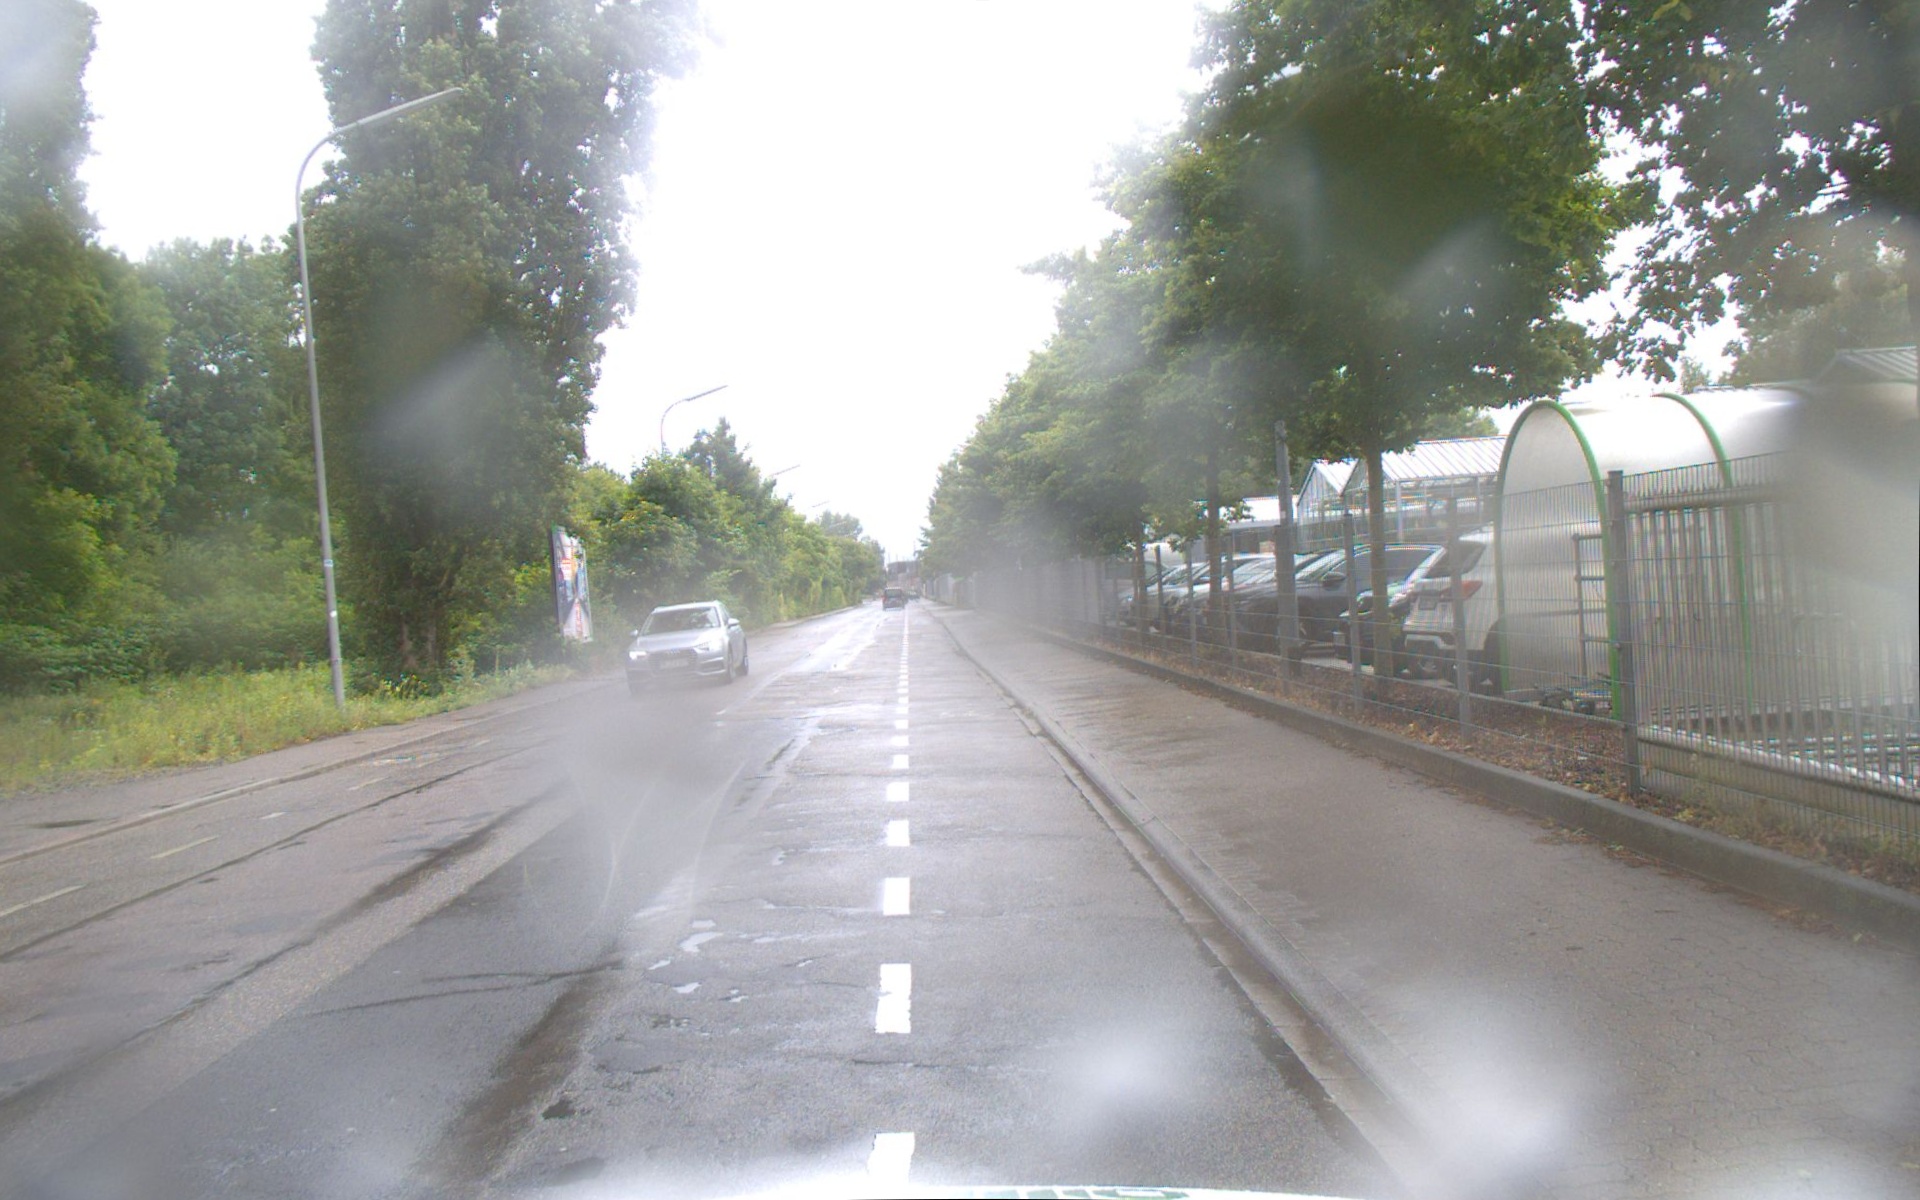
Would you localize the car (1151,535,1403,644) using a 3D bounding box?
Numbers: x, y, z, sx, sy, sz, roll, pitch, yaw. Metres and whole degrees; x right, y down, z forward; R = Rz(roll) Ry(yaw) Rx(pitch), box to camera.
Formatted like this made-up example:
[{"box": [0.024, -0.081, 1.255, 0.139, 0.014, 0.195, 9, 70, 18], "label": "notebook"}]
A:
[{"box": [5.826, -0.198, 30.638, 4.132, 1.646, 1.820, -4, 1, -9], "label": "car"}]

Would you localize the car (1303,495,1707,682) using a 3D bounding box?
[{"box": [6.452, -0.150, 19.777, 4.132, 1.825, 1.820, -4, 1, -9], "label": "car"}]

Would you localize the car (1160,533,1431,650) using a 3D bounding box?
[{"box": [5.741, -0.160, 28.493, 4.132, 1.646, 1.820, -4, 1, -9], "label": "car"}]

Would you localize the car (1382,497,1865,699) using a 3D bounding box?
[{"box": [6.666, -0.039, 16.899, 4.125, 1.628, 1.823, -5, 1, -3], "label": "car"}]

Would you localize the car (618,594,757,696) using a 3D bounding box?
[{"box": [-4.854, 0.749, 30.009, 1.699, 1.475, 4.380, -7, 1, -1], "label": "car"}]

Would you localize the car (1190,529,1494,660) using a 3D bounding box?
[{"box": [5.866, -0.104, 25.624, 4.132, 1.646, 1.820, -4, 1, -9], "label": "car"}]

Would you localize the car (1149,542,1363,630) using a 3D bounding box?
[{"box": [6.399, -0.313, 35.932, 4.132, 1.560, 1.820, -4, 1, -9], "label": "car"}]

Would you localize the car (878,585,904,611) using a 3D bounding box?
[{"box": [-5.687, -0.125, 136.215, 1.954, 1.943, 4.198, -5, 0, -3], "label": "car"}]

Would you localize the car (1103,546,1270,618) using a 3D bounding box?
[{"box": [6.152, -0.486, 45.181, 4.127, 1.616, 1.822, -4, 1, -5], "label": "car"}]

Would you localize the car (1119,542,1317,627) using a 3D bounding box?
[{"box": [5.985, -0.360, 38.585, 4.132, 1.616, 1.820, -4, 1, -9], "label": "car"}]
